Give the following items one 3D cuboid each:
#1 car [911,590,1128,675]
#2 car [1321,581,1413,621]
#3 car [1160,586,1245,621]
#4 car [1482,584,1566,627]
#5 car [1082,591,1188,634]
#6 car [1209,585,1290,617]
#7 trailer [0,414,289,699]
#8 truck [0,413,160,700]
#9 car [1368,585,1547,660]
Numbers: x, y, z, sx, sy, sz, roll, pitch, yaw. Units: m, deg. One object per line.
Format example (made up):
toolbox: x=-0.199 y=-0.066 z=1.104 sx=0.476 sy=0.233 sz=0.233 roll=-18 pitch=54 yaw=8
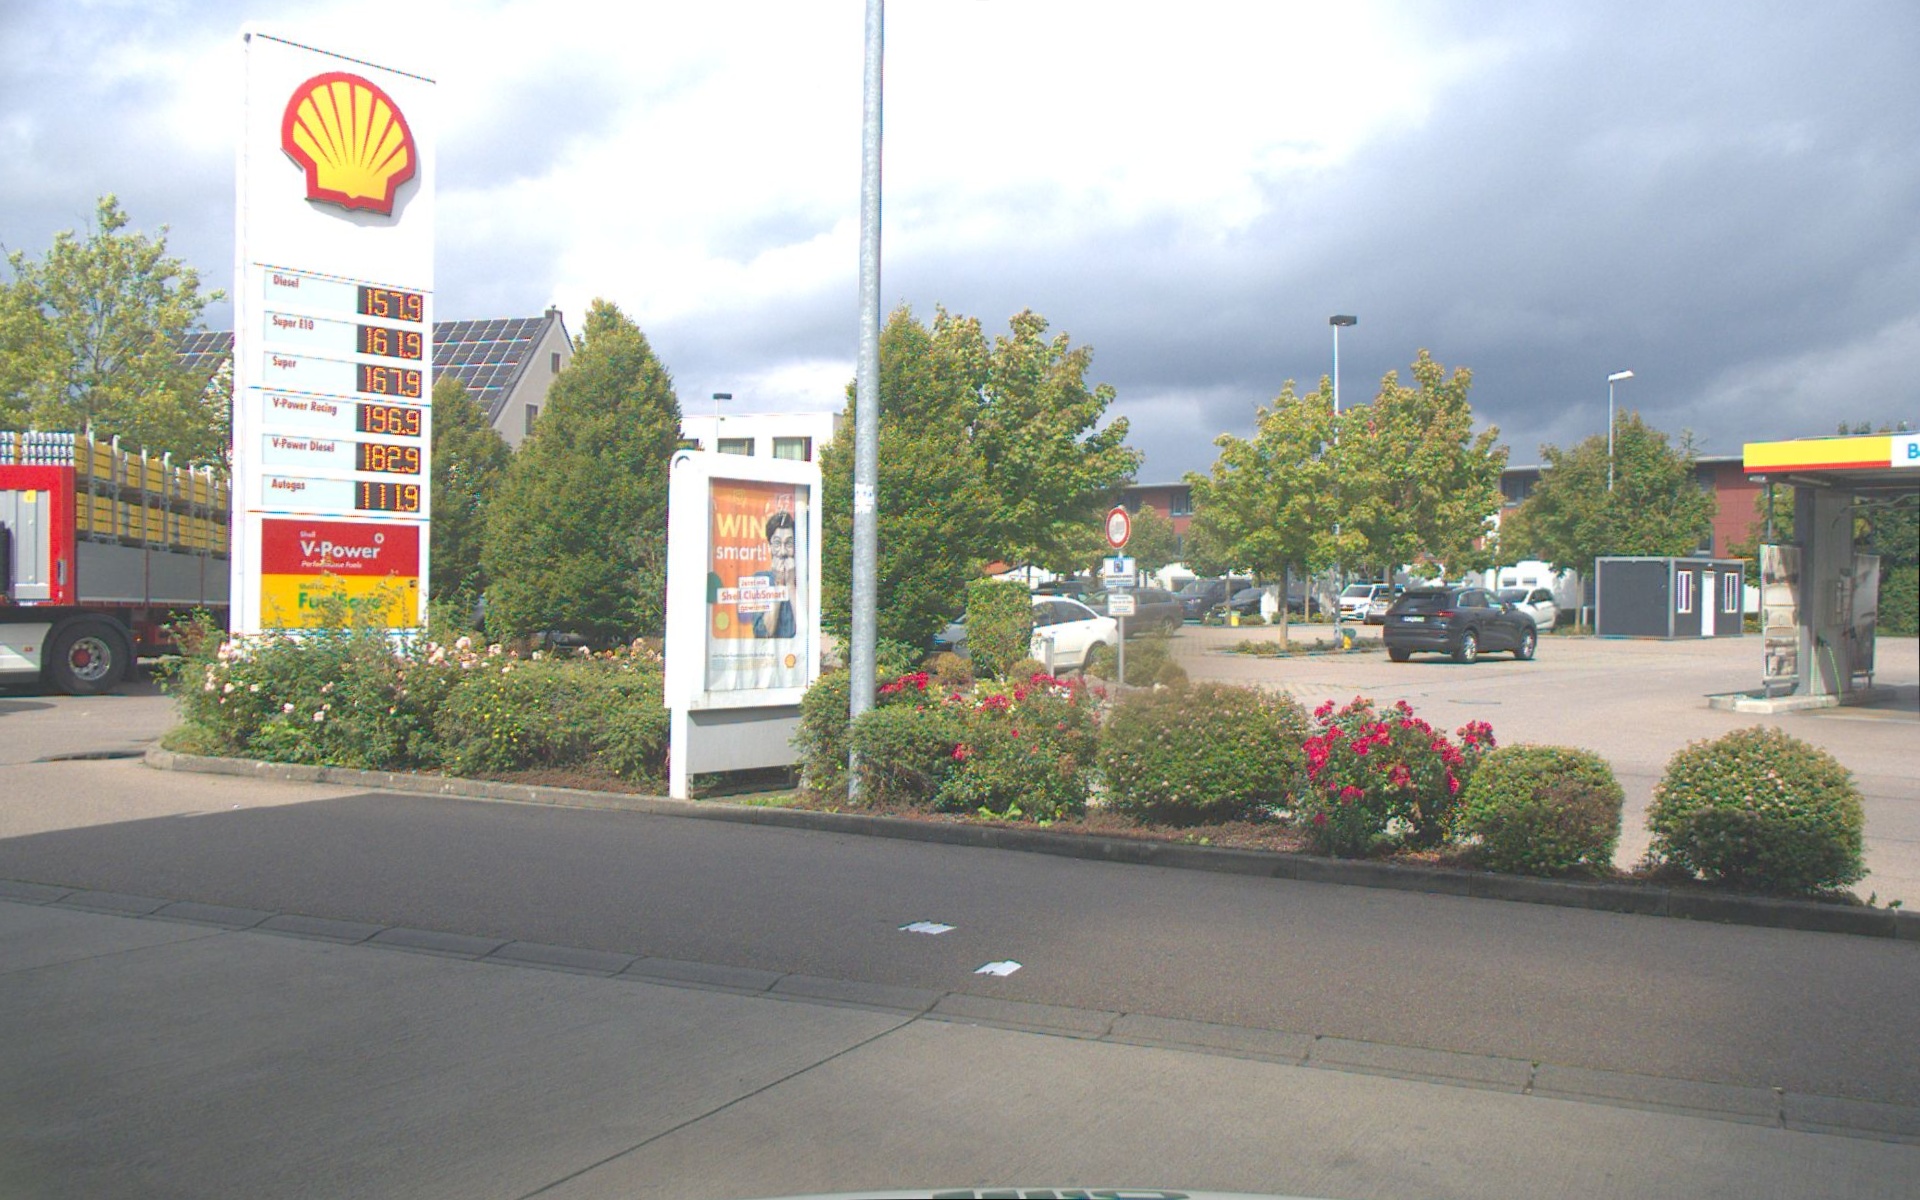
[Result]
car: x=1.141 y=0.583 z=29.931 sx=1.348 sy=1.428 sz=4.312 roll=1 pitch=-1 yaw=45
car: x=19.929 y=0.050 z=80.938 sx=4.839 sy=1.865 sz=2.150 roll=1 pitch=0 yaw=-44
car: x=9.824 y=0.155 z=66.925 sx=3.364 sy=1.343 sz=1.719 roll=1 pitch=0 yaw=-45
car: x=18.018 y=0.182 z=52.799 sx=3.080 sy=1.330 sz=1.346 roll=1 pitch=-1 yaw=-45
car: x=5.289 y=0.376 z=49.786 sx=3.203 sy=1.249 sz=1.481 roll=1 pitch=0 yaw=-45
car: x=11.425 y=0.052 z=65.203 sx=3.393 sy=1.199 sz=1.462 roll=1 pitch=0 yaw=-45
trailer: x=-14.397 y=-0.587 z=28.472 sx=2.681 sy=3.842 sz=12.680 roll=1 pitch=0 yaw=-10
truck: x=-14.616 y=-0.616 z=22.803 sx=2.694 sy=3.913 sz=5.879 roll=1 pitch=-1 yaw=43
car: x=11.139 y=0.495 z=36.886 sx=4.467 sy=1.575 sz=1.856 roll=1 pitch=0 yaw=-44
